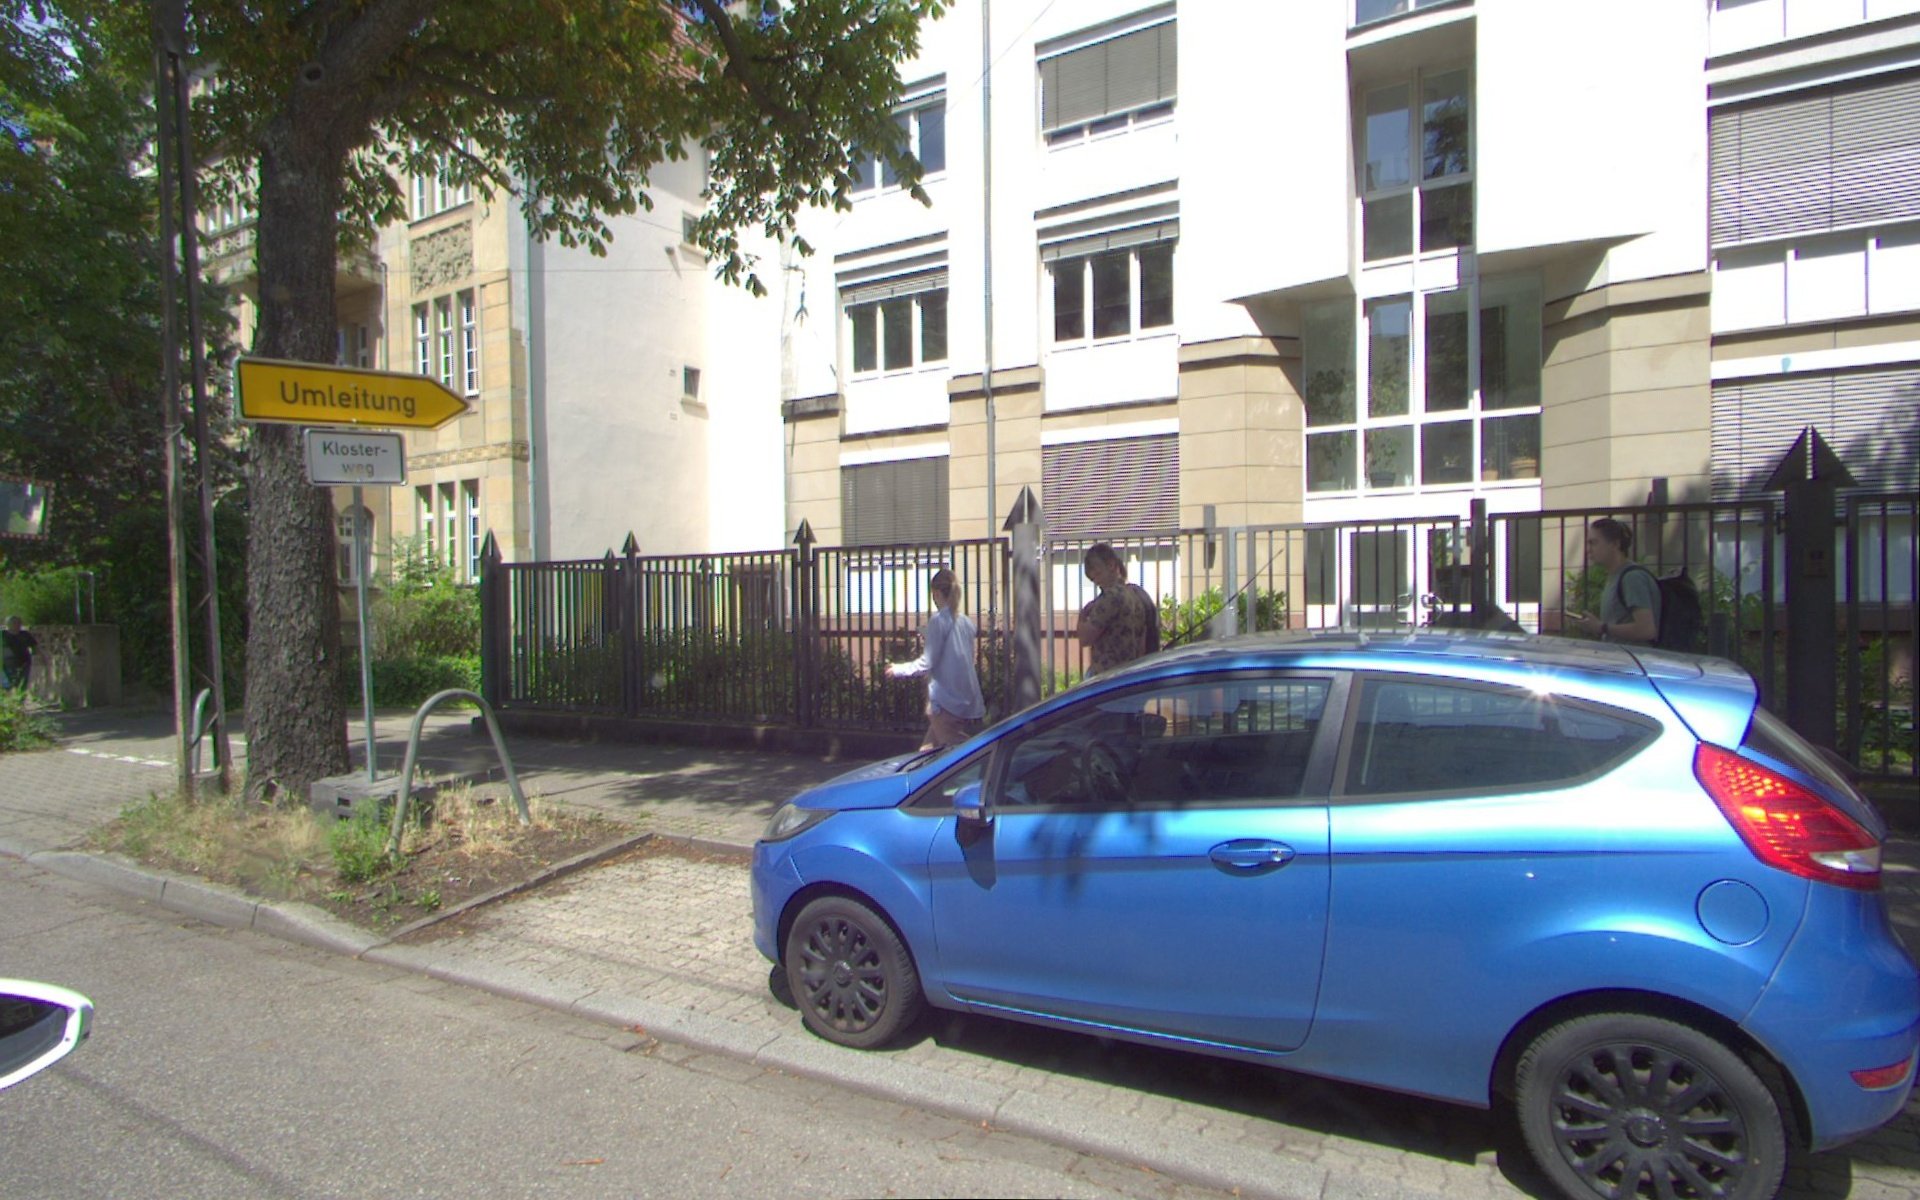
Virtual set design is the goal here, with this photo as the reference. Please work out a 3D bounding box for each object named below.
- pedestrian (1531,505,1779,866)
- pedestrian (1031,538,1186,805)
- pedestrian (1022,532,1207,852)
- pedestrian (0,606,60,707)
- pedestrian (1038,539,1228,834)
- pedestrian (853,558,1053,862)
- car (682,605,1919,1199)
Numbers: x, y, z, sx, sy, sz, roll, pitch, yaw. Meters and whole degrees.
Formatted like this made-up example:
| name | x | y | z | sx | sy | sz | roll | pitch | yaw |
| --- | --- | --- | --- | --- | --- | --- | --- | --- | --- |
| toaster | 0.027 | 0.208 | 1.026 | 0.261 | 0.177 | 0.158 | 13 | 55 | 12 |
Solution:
| name | x | y | z | sx | sy | sz | roll | pitch | yaw |
| --- | --- | --- | --- | --- | --- | --- | --- | --- | --- |
| pedestrian | 3.824 | 0.442 | 5.610 | 1.067 | 1.821 | 0.683 | 0 | 0 | 29 |
| pedestrian | 1.102 | 0.502 | 7.413 | 0.962 | 1.835 | 0.660 | 0 | 0 | 29 |
| pedestrian | 0.960 | 0.525 | 6.168 | 0.933 | 1.800 | 0.704 | 0 | 0 | 29 |
| pedestrian | -16.011 | 0.941 | 17.060 | 0.826 | 1.667 | 0.854 | 0 | 0 | 37 |
| pedestrian | 1.159 | 0.533 | 6.649 | 1.036 | 1.785 | 0.786 | 0 | 0 | 29 |
| pedestrian | -0.034 | 0.611 | 6.076 | 0.959 | 1.673 | 0.765 | 0 | 0 | 31 |
| car | 0.946 | 0.797 | 3.742 | 3.663 | 1.463 | 1.675 | -1 | 2 | 28 |
